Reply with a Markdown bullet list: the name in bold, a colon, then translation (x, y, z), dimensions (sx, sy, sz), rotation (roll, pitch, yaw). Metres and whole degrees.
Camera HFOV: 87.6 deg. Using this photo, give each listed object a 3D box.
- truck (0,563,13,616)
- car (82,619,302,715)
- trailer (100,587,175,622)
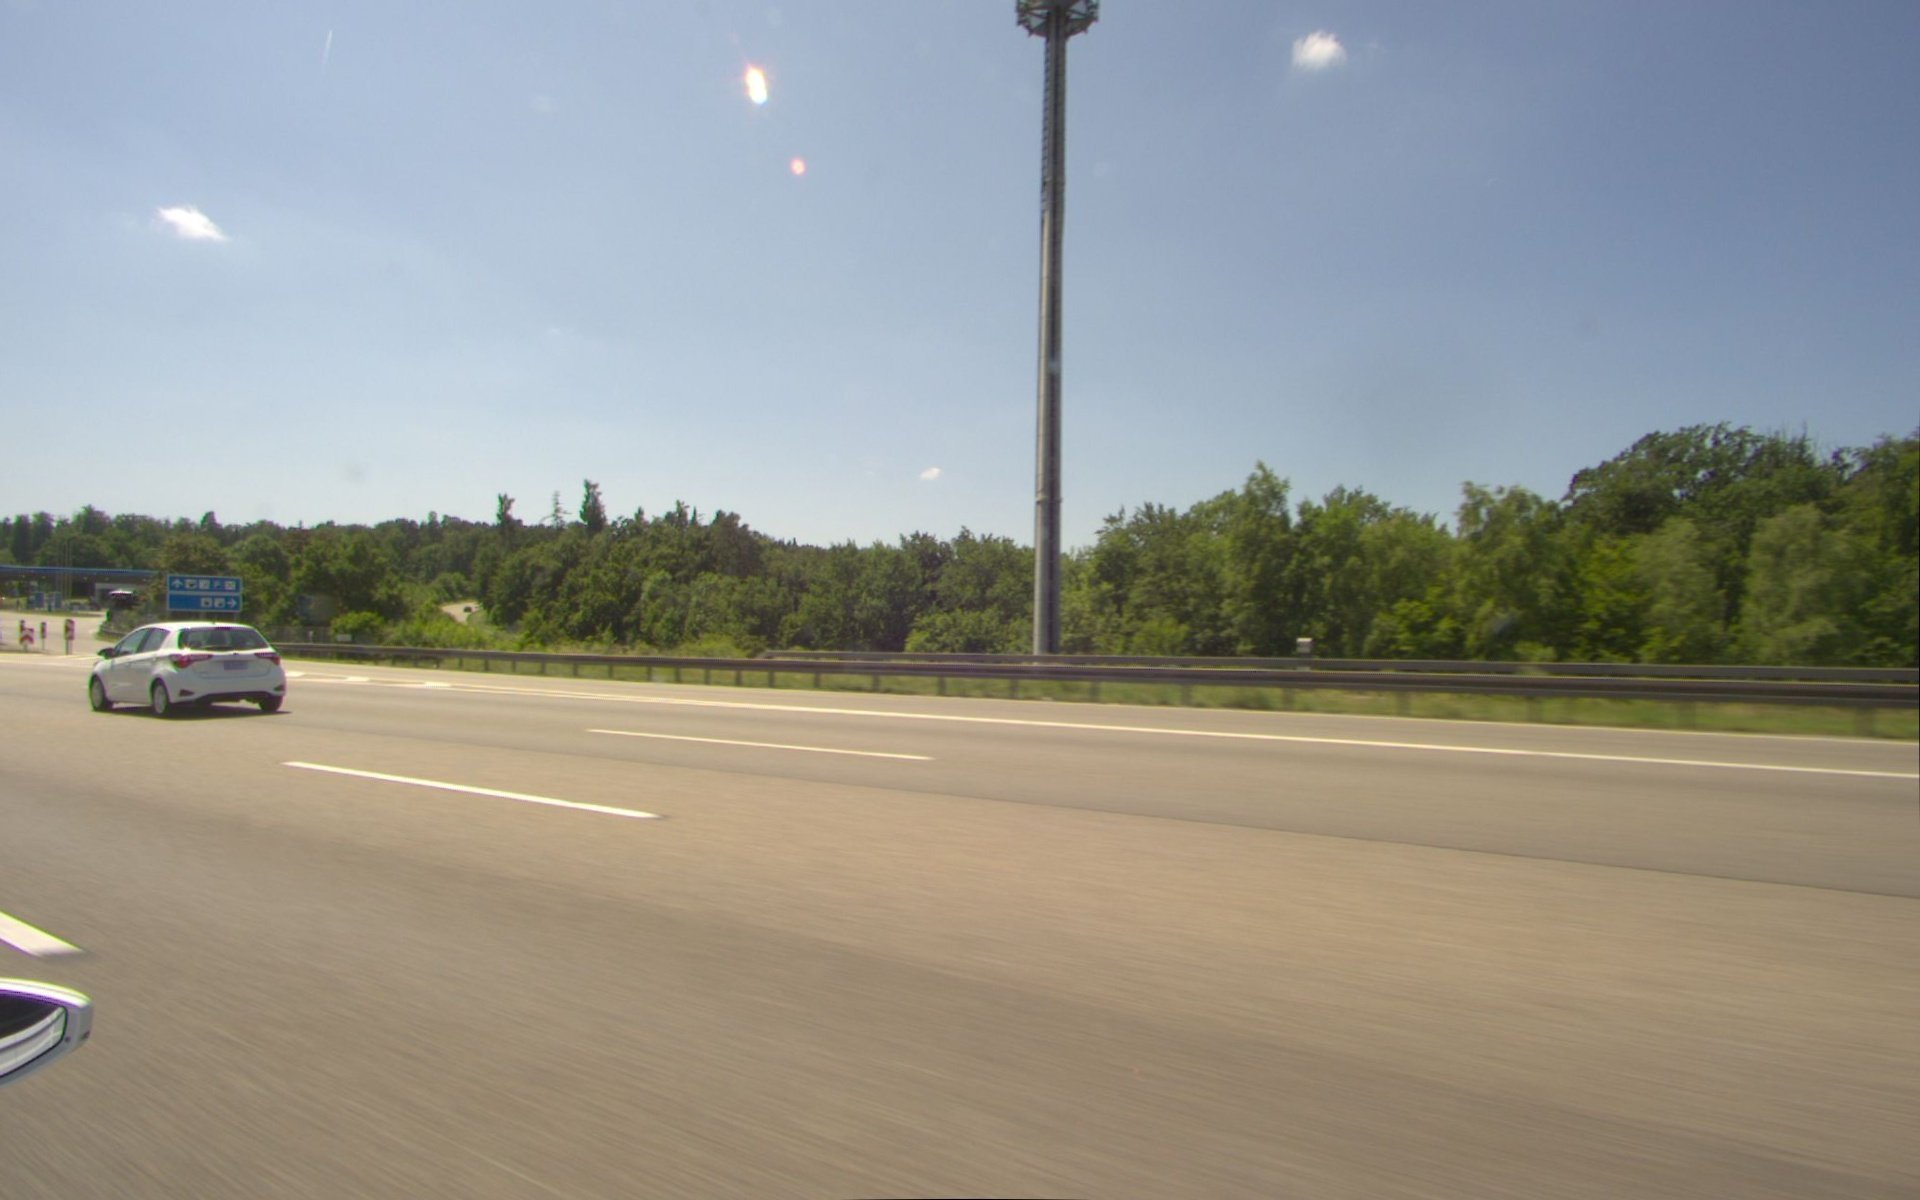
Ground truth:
- **truck**: translation (-122.503, -1.208, 123.020), dimensions (15.211, 6.348, 5.497), rotation (-1, -1, 33)
- **car**: translation (-13.054, 1.045, 16.944), dimensions (4.314, 1.452, 1.662), rotation (-1, -1, 34)
- **trailer**: translation (-94.216, 0.445, 115.066), dimensions (3.118, 3.686, 13.566), rotation (0, 1, -24)
